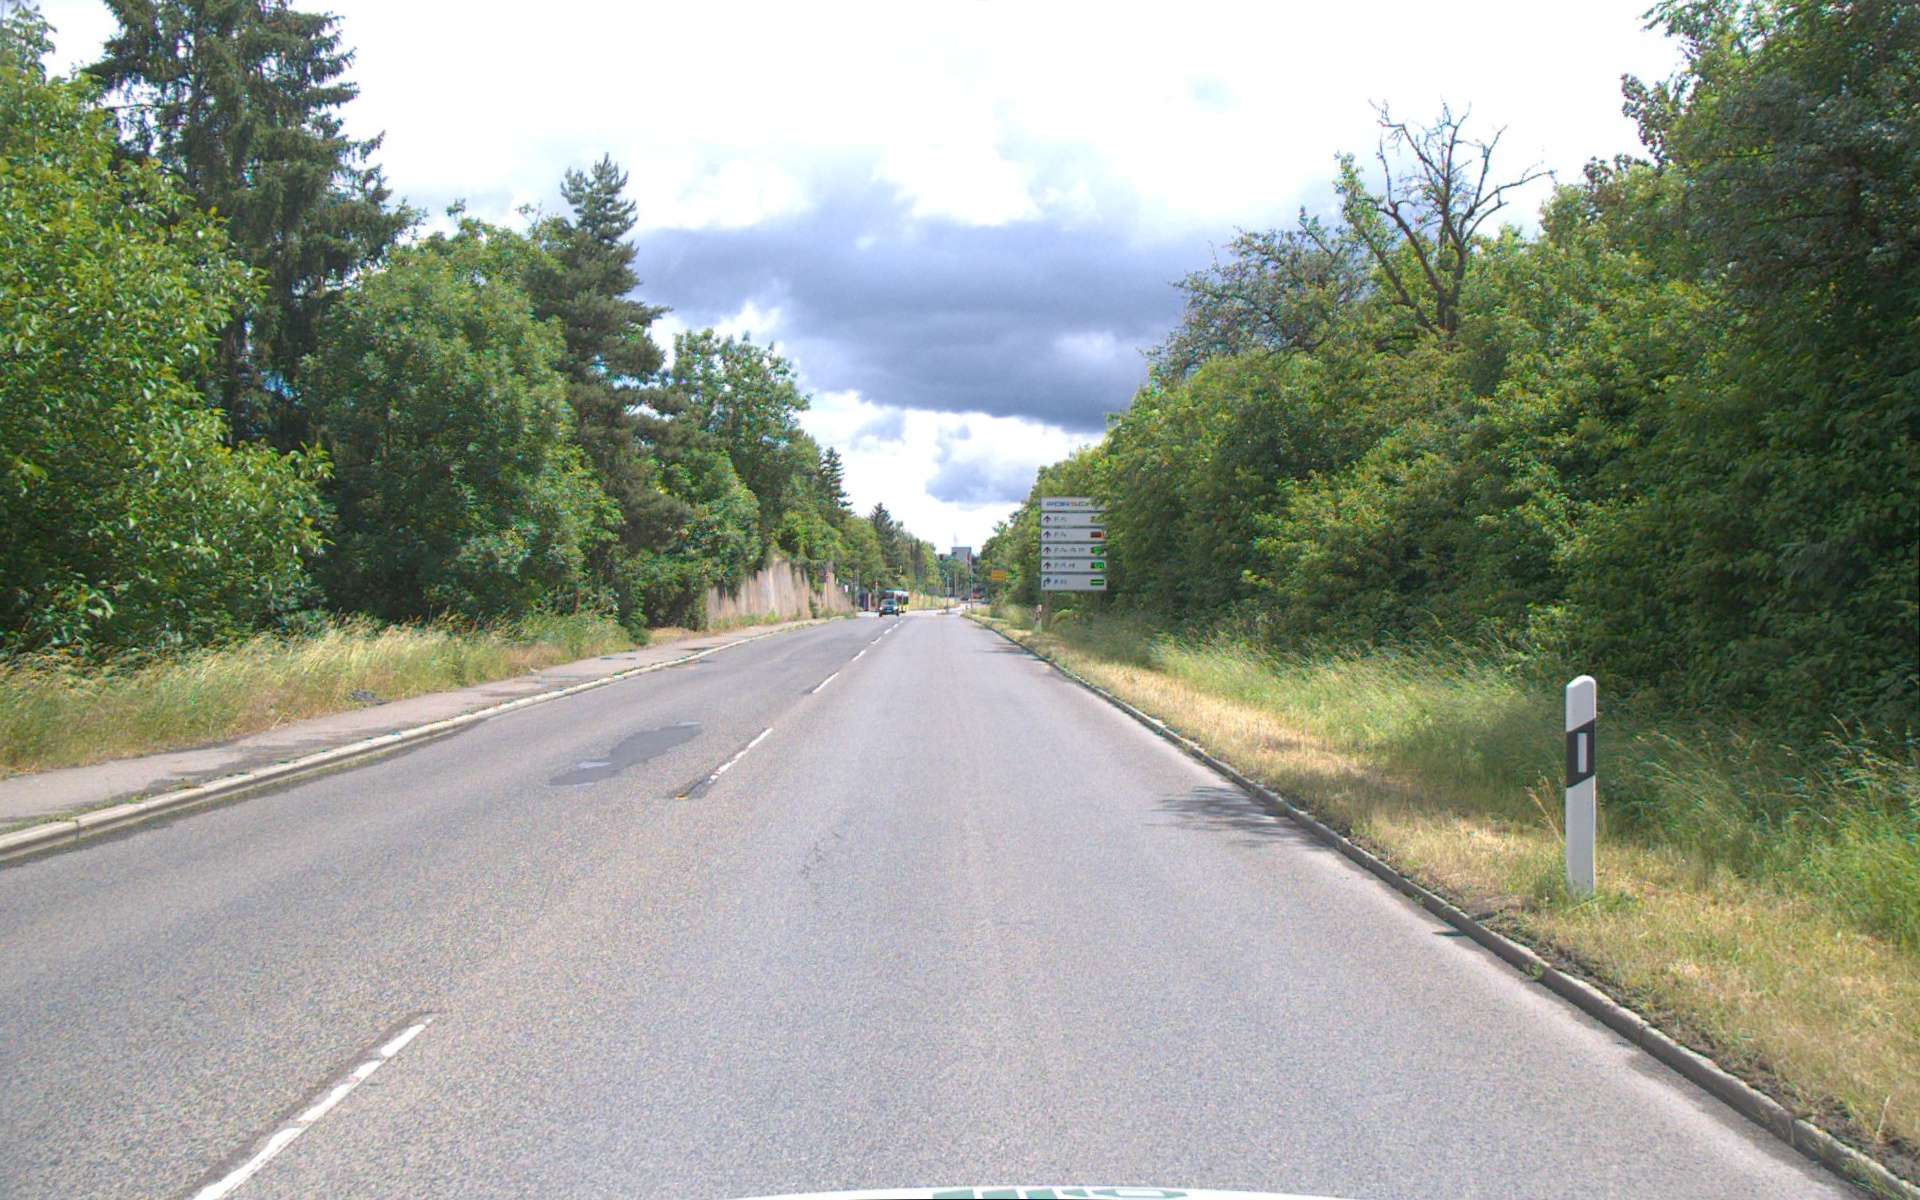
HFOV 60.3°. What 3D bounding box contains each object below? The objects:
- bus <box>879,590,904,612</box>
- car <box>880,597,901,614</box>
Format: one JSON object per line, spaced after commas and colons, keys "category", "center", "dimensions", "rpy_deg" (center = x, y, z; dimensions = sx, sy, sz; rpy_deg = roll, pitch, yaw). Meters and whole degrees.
{"category": "bus", "center": [-9.651, 0.097, 232.881], "dimensions": [2.834, 2.949, 7.670], "rpy_deg": [2, 1, 3]}
{"category": "car", "center": [-6.063, 0.466, 144.695], "dimensions": [1.716, 1.489, 3.999], "rpy_deg": [-1, 0, -1]}
